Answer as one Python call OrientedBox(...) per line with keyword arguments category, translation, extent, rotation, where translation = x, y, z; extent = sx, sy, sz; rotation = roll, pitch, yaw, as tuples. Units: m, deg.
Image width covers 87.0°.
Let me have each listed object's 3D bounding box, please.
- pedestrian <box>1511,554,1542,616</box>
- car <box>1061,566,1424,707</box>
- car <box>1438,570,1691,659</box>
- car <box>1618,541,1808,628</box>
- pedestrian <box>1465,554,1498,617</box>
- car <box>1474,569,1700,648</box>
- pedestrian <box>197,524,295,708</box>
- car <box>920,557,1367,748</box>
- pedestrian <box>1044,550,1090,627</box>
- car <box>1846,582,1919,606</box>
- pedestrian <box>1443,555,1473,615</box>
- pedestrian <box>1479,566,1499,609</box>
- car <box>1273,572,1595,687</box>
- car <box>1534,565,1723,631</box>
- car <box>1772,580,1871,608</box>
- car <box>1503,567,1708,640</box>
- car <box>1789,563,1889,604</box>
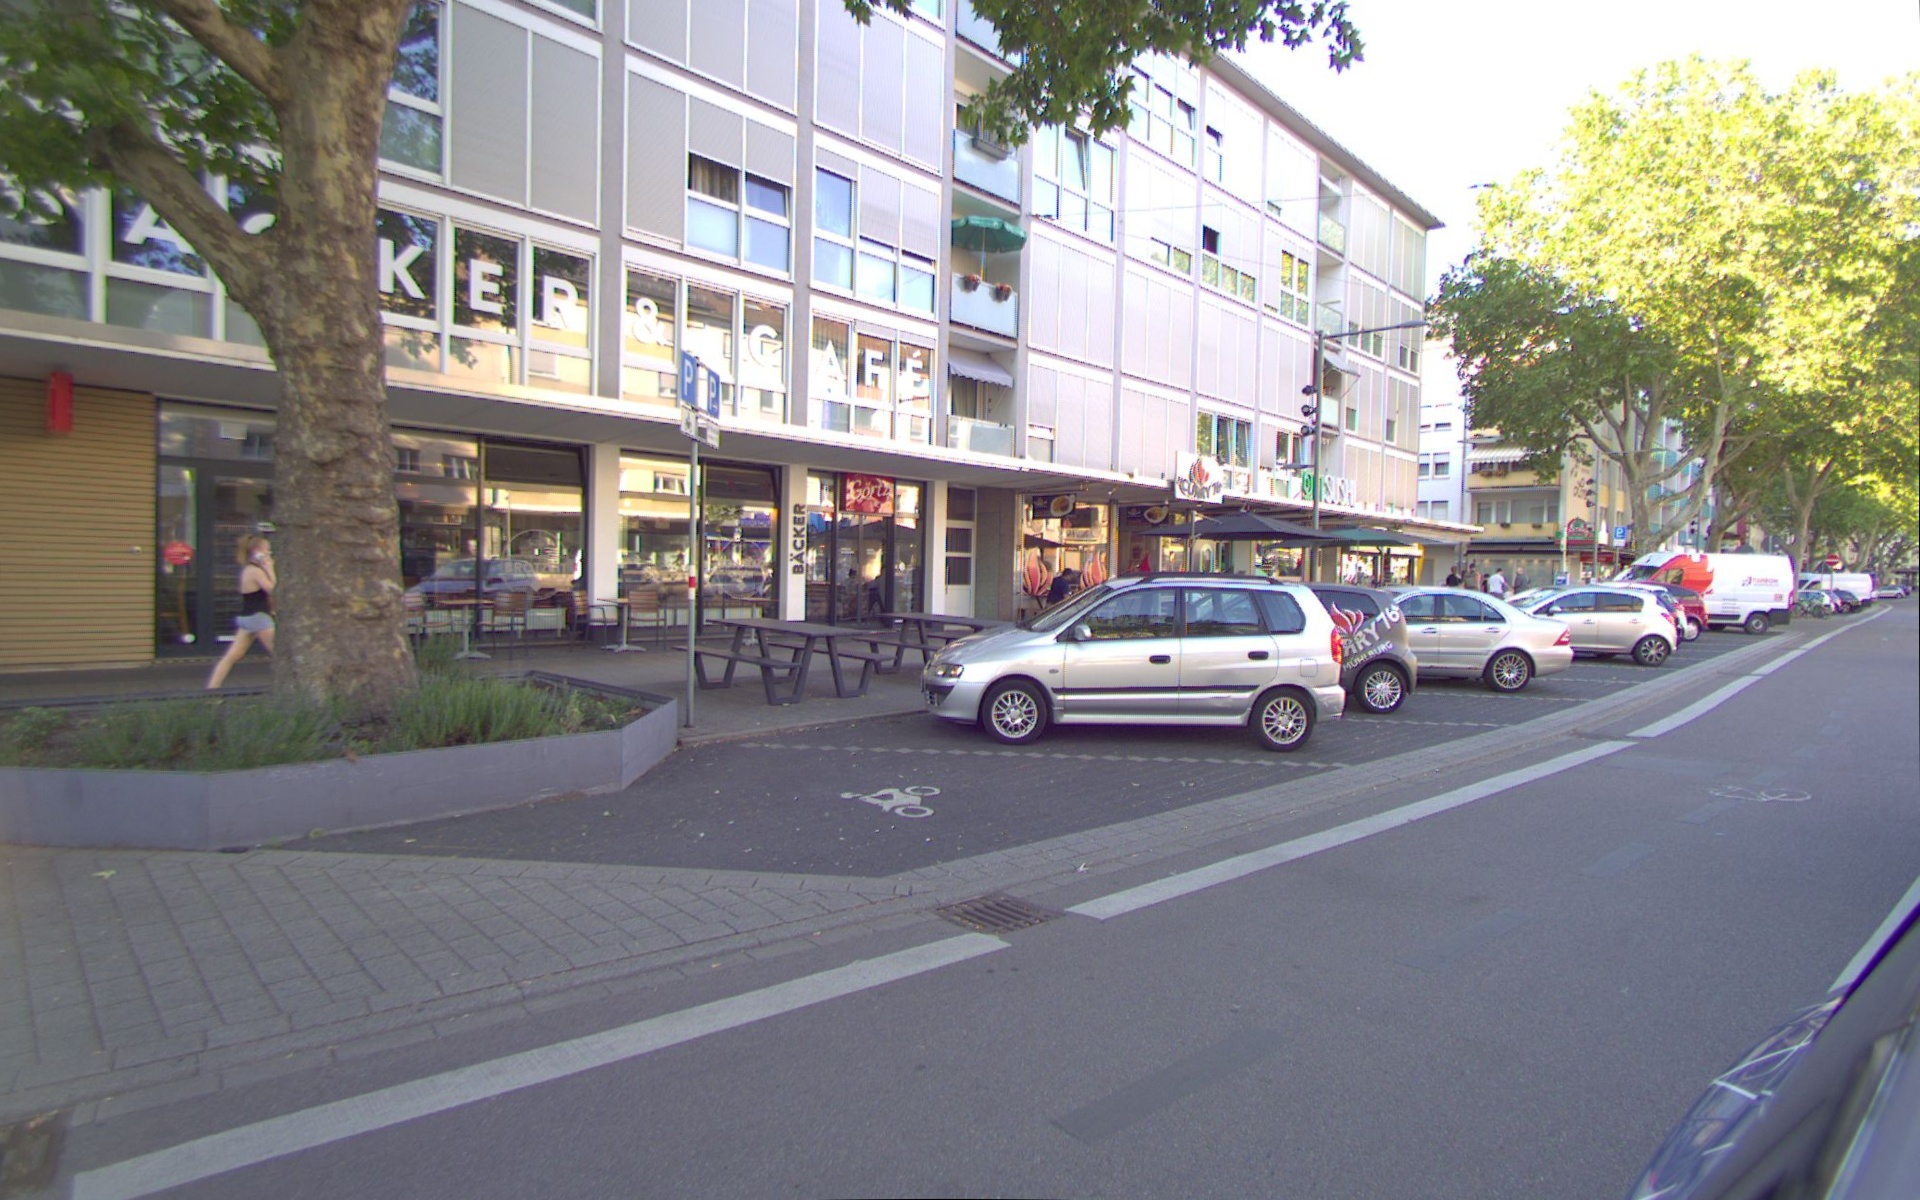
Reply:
OrientedBox(category="pedestrian", translation=(19.002, -0.512, 33.953), extent=(0.746, 2.038, 0.550), rotation=(2, 2, 45))
OrientedBox(category="car", translation=(3.302, 0.397, 12.331), extent=(3.864, 1.446, 1.679), rotation=(2, 3, -3))
OrientedBox(category="car", translation=(11.734, 0.240, 19.838), extent=(3.871, 1.446, 1.559), rotation=(3, 3, 4))
OrientedBox(category="car", translation=(23.761, -0.516, 32.072), extent=(4.514, 2.525, 1.675), rotation=(2, 1, 5))
OrientedBox(category="pedestrian", translation=(17.427, -0.491, 33.789), extent=(0.746, 2.038, 0.752), rotation=(2, 2, 45))
OrientedBox(category="car", translation=(13.895, 0.146, 22.678), extent=(3.886, 1.446, 1.670), rotation=(3, 3, 16))
OrientedBox(category="pedestrian", translation=(-6.471, 0.125, 9.174), extent=(0.559, 1.596, 0.632), rotation=(2, 2, 44))
OrientedBox(category="car", translation=(1.602, 0.440, 9.797), extent=(3.906, 1.560, 1.679), rotation=(2, 3, -3))
OrientedBox(category="pedestrian", translation=(2.261, -0.251, 21.353), extent=(0.757, 1.602, 0.583), rotation=(0, 2, -39))
OrientedBox(category="car", translation=(56.635, -0.382, 61.464), extent=(3.864, 1.350, 1.782), rotation=(1, 2, 3))
OrientedBox(category="pedestrian", translation=(16.996, -0.527, 34.546), extent=(0.746, 2.000, 0.566), rotation=(2, 2, 45))
OrientedBox(category="pedestrian", translation=(20.583, -0.502, 39.408), extent=(0.536, 1.660, 0.470), rotation=(2, 2, 45))
OrientedBox(category="car", translation=(6.797, 0.390, 14.802), extent=(3.867, 1.418, 1.598), rotation=(2, 3, 1))
OrientedBox(category="car", translation=(18.115, -0.096, 27.628), extent=(3.888, 1.445, 1.669), rotation=(4, 5, 17))
OrientedBox(category="car", translation=(48.161, -0.360, 56.617), extent=(3.864, 1.422, 1.782), rotation=(1, 2, 3))
OrientedBox(category="car", translation=(15.948, 0.039, 25.229), extent=(3.888, 1.445, 1.669), rotation=(4, 5, 17))
OrientedBox(category="car", translation=(56.489, -1.086, 65.113), extent=(4.512, 2.499, 1.977), rotation=(1, 2, 3))
